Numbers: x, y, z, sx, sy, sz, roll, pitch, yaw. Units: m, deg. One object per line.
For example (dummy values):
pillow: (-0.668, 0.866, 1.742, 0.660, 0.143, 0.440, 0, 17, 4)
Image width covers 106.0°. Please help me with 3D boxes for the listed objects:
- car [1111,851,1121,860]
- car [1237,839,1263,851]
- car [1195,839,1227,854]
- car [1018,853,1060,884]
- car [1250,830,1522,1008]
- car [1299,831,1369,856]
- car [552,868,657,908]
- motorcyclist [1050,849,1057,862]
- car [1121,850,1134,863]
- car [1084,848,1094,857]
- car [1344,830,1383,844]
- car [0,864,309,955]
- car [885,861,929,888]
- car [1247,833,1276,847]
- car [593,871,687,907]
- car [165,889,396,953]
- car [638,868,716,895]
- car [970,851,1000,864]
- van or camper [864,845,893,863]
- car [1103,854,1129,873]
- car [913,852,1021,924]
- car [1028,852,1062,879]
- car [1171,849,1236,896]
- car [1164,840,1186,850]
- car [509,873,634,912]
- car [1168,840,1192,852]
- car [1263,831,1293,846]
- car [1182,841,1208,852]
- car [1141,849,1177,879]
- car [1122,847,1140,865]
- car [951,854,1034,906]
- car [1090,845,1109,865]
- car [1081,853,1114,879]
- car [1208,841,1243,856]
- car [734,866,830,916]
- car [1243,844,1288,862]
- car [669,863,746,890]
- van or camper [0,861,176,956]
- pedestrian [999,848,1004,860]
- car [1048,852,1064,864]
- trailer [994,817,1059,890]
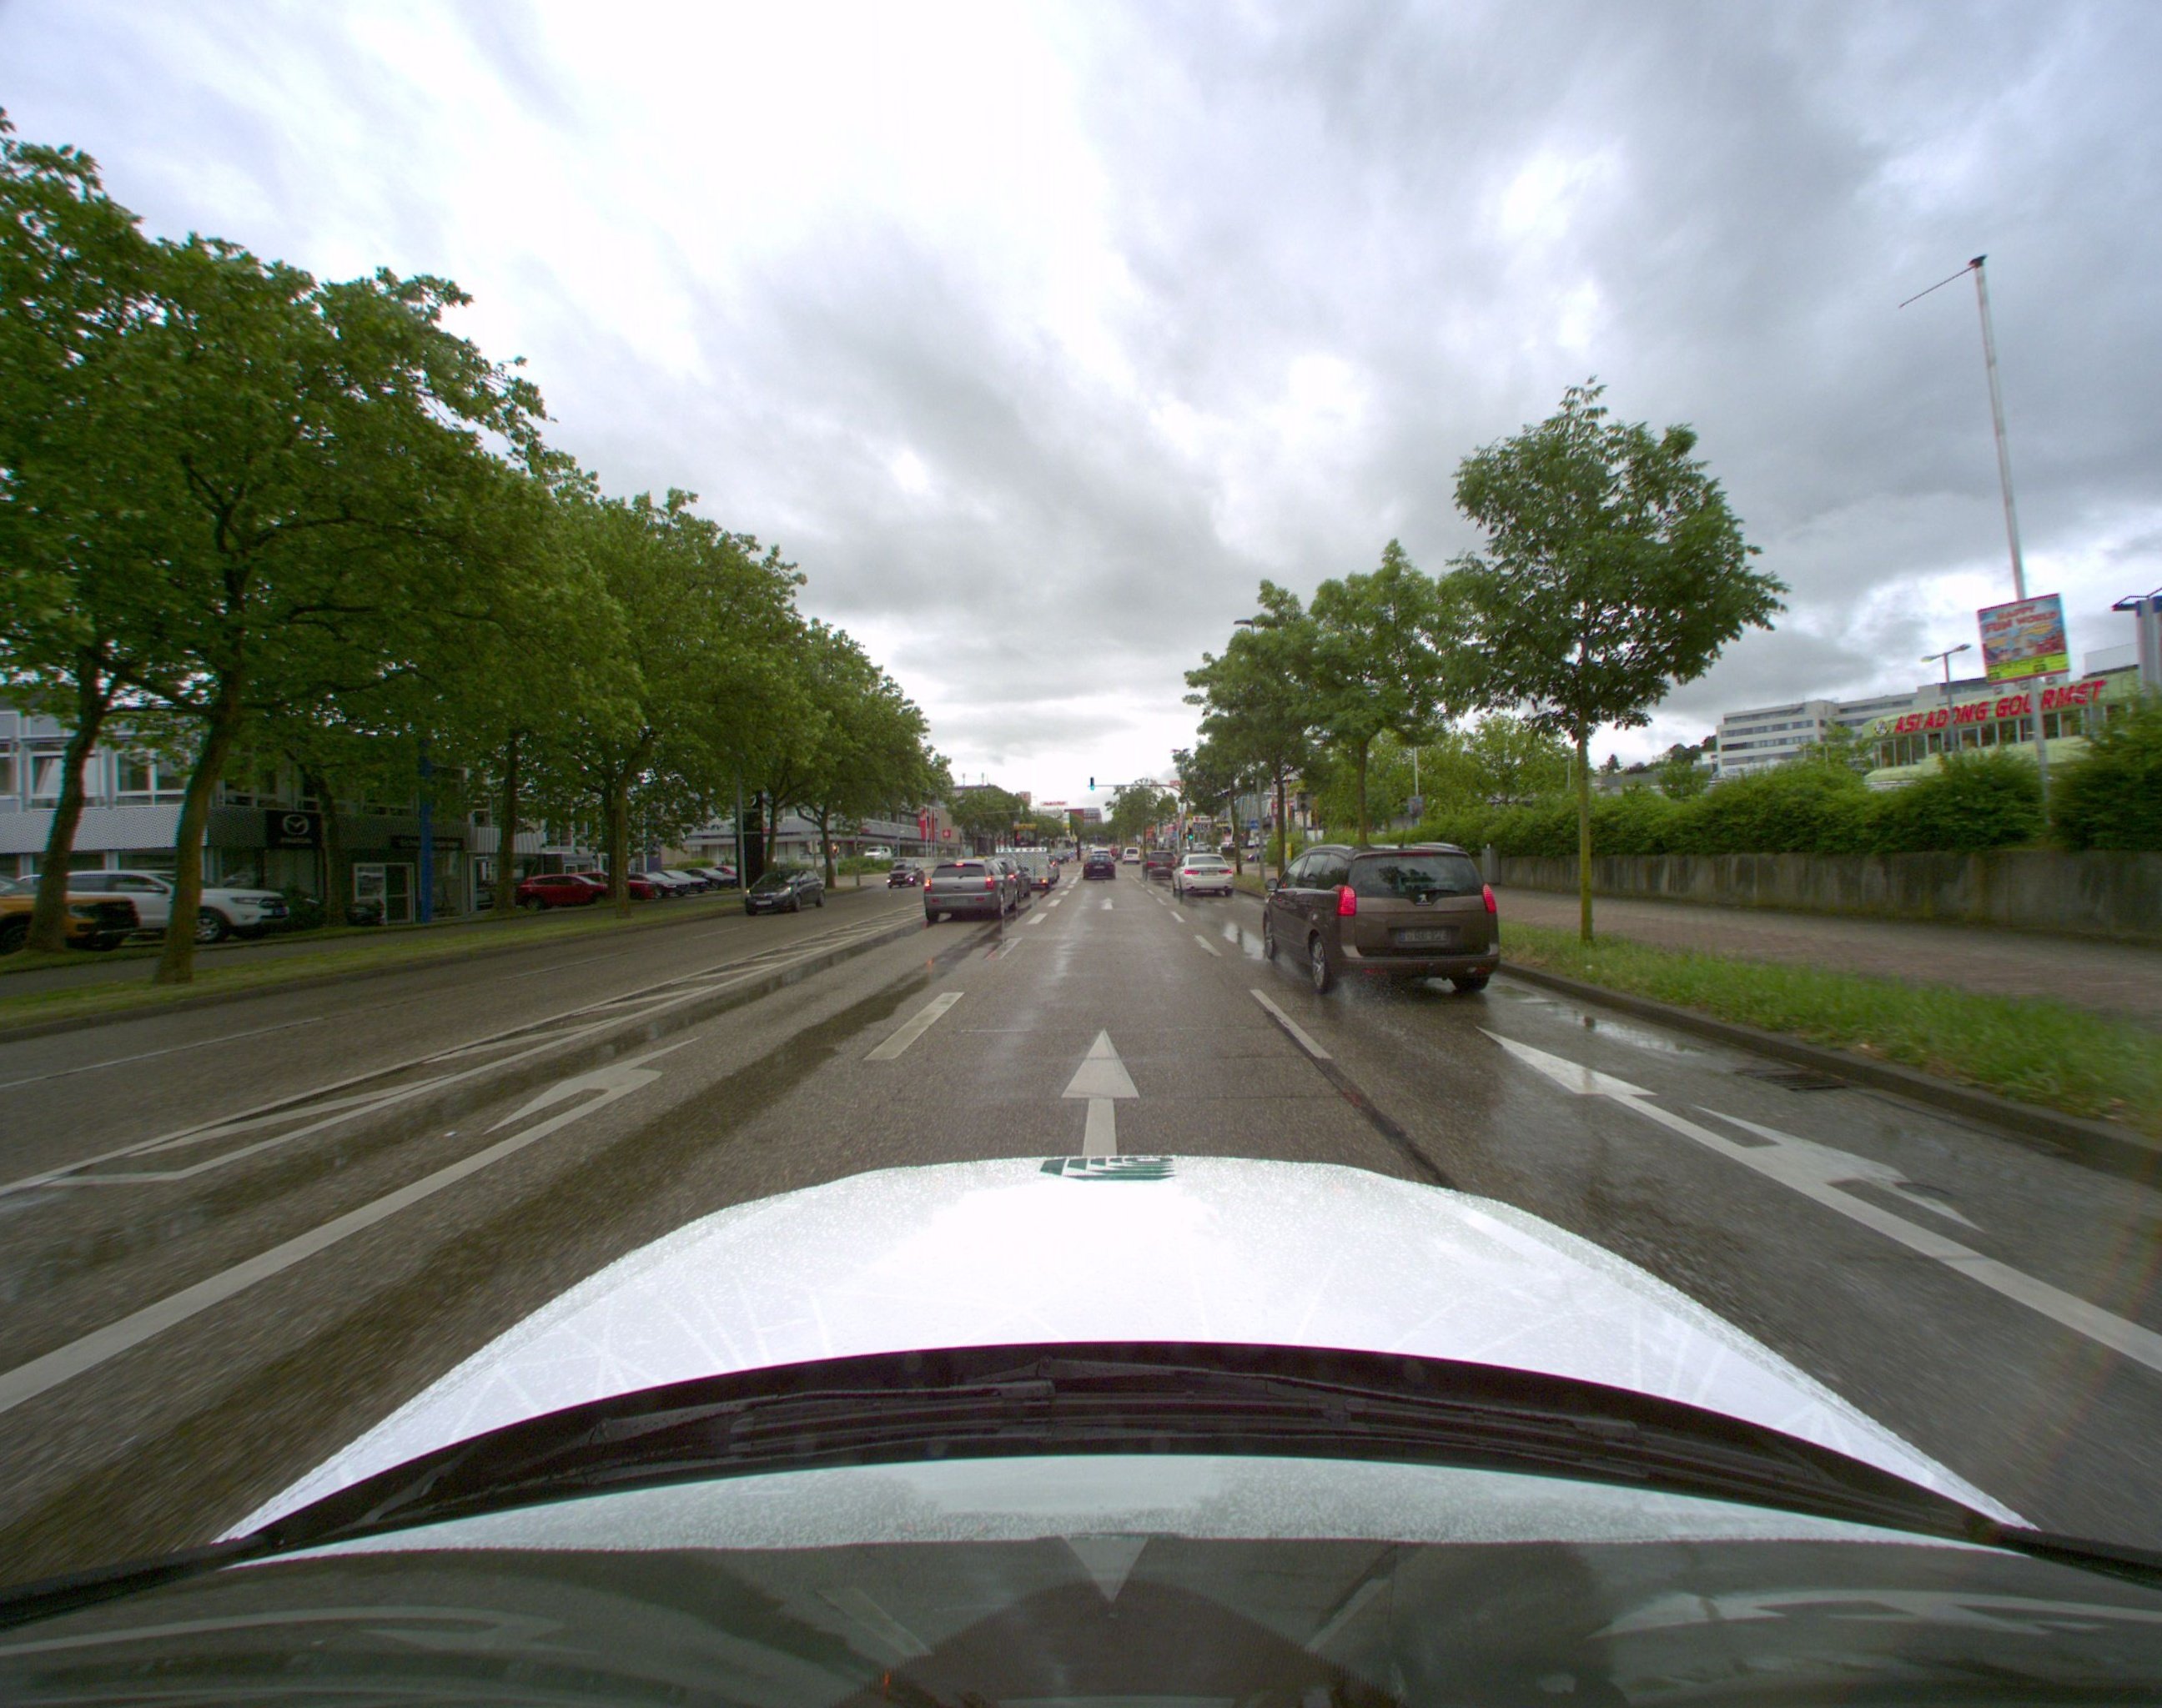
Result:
car: (5.941, 0.212, 138.783, 1.689, 1.443, 3.991, -2, -1, 2)
car: (25.630, -1.379, 123.518, 3.995, 1.720, 1.615, -3, 0, -38)
car: (17.237, -0.976, 108.089, 4.047, 1.662, 1.960, -5, 2, -38)
car: (-2.135, 0.699, 42.469, 1.759, 1.458, 4.782, -2, 0, 1)
car: (3.348, 0.613, 9.946, 1.720, 1.624, 4.473, -2, 0, 2)
car: (16.165, -0.664, 52.228, 3.970, 1.442, 1.657, -2, 0, 3)
car: (-23.913, 1.691, 41.076, 4.236, 1.653, 1.998, -3, 0, -22)
motorcyclist: (-3.350, 0.157, 98.797, 0.804, 1.559, 1.267, -2, 1, 0)
car: (6.228, 0.299, 109.577, 1.678, 1.684, 3.404, 0, -1, 2)
car: (1.753, -0.318, 181.940, 1.986, 2.014, 4.002, 0, -1, 2)
car: (34.635, -2.057, 99.970, 1.747, 1.481, 4.106, -3, 0, -39)
car: (-21.945, 1.236, 19.548, 4.471, 1.816, 1.986, -2, 0, -21)
car: (-10.405, 1.204, 48.902, 1.704, 1.465, 4.085, -3, 0, 0)
car: (25.861, -2.007, 116.836, 4.174, 1.771, 1.718, -3, 0, -38)
car: (-24.035, 1.862, 44.586, 4.236, 1.596, 1.985, -4, 1, -22)
car: (-23.642, 1.934, 24.337, 4.478, 1.450, 1.982, -2, 0, -27)
car: (-24.234, 1.627, 48.938, 3.732, 1.391, 1.688, -2, 0, -4)
car: (-13.612, 0.496, 115.429, 3.948, 1.552, 1.912, -2, 1, 36)
van or camper: (-23.306, 0.036, 93.979, 1.986, 1.967, 4.789, 0, -1, 1)
car: (2.693, 0.735, 63.948, 1.678, 1.377, 3.997, -2, 0, -2)
car: (-2.810, 0.773, 21.250, 1.900, 1.578, 4.882, -3, 0, 2)
car: (-2.093, 0.638, 48.426, 1.707, 1.489, 4.079, -3, 0, 1)
car: (4.291, 0.595, 29.093, 1.794, 1.544, 4.622, 0, 0, 2)
car: (17.405, -1.640, 150.663, 4.089, 1.703, 1.803, -2, 1, 7)
car: (-23.476, 1.740, 37.744, 4.571, 1.596, 1.986, -1, 0, -21)
car: (17.414, -1.480, 143.349, 4.094, 1.904, 1.801, -3, 0, 3)
car: (25.922, -2.066, 107.159, 4.177, 1.771, 1.717, -3, 0, -42)
car: (17.071, -1.138, 121.546, 3.617, 1.536, 1.776, -3, 1, -38)
car: (4.401, 0.534, 46.244, 1.794, 1.587, 4.453, 0, 0, 2)
car: (5.367, 0.204, 87.871, 1.775, 1.866, 4.001, -3, 0, 1)
car: (-2.866, 0.795, 27.410, 1.986, 1.429, 4.557, -4, 1, 3)
car: (1.940, 0.168, 84.476, 1.986, 2.014, 4.001, 0, -1, 1)
car: (0.959, 0.654, 47.045, 1.775, 1.398, 4.001, -1, 0, 1)
car: (17.072, -0.604, 96.087, 1.908, 1.576, 4.314, -2, 0, 43)
car: (-10.130, 1.211, 27.940, 1.704, 1.465, 4.085, -3, 0, 0)
car: (18.107, -0.098, 79.915, 3.965, 1.489, 1.818, -3, -1, 1)
car: (-23.733, 1.441, 51.907, 3.971, 1.489, 1.877, -2, 0, -4)
van or camper: (-22.391, 1.196, 16.254, 5.378, 1.770, 2.089, -2, -3, -22)
pedestrian: (-15.111, -0.022, 155.092, 0.856, 2.218, 0.845, -2, 0, -2)
car: (-2.876, 0.441, 94.179, 1.678, 1.377, 3.997, -2, 0, -2)
trailer: (-2.310, -0.014, 36.144, 2.365, 2.897, 5.545, -3, 0, 0)
